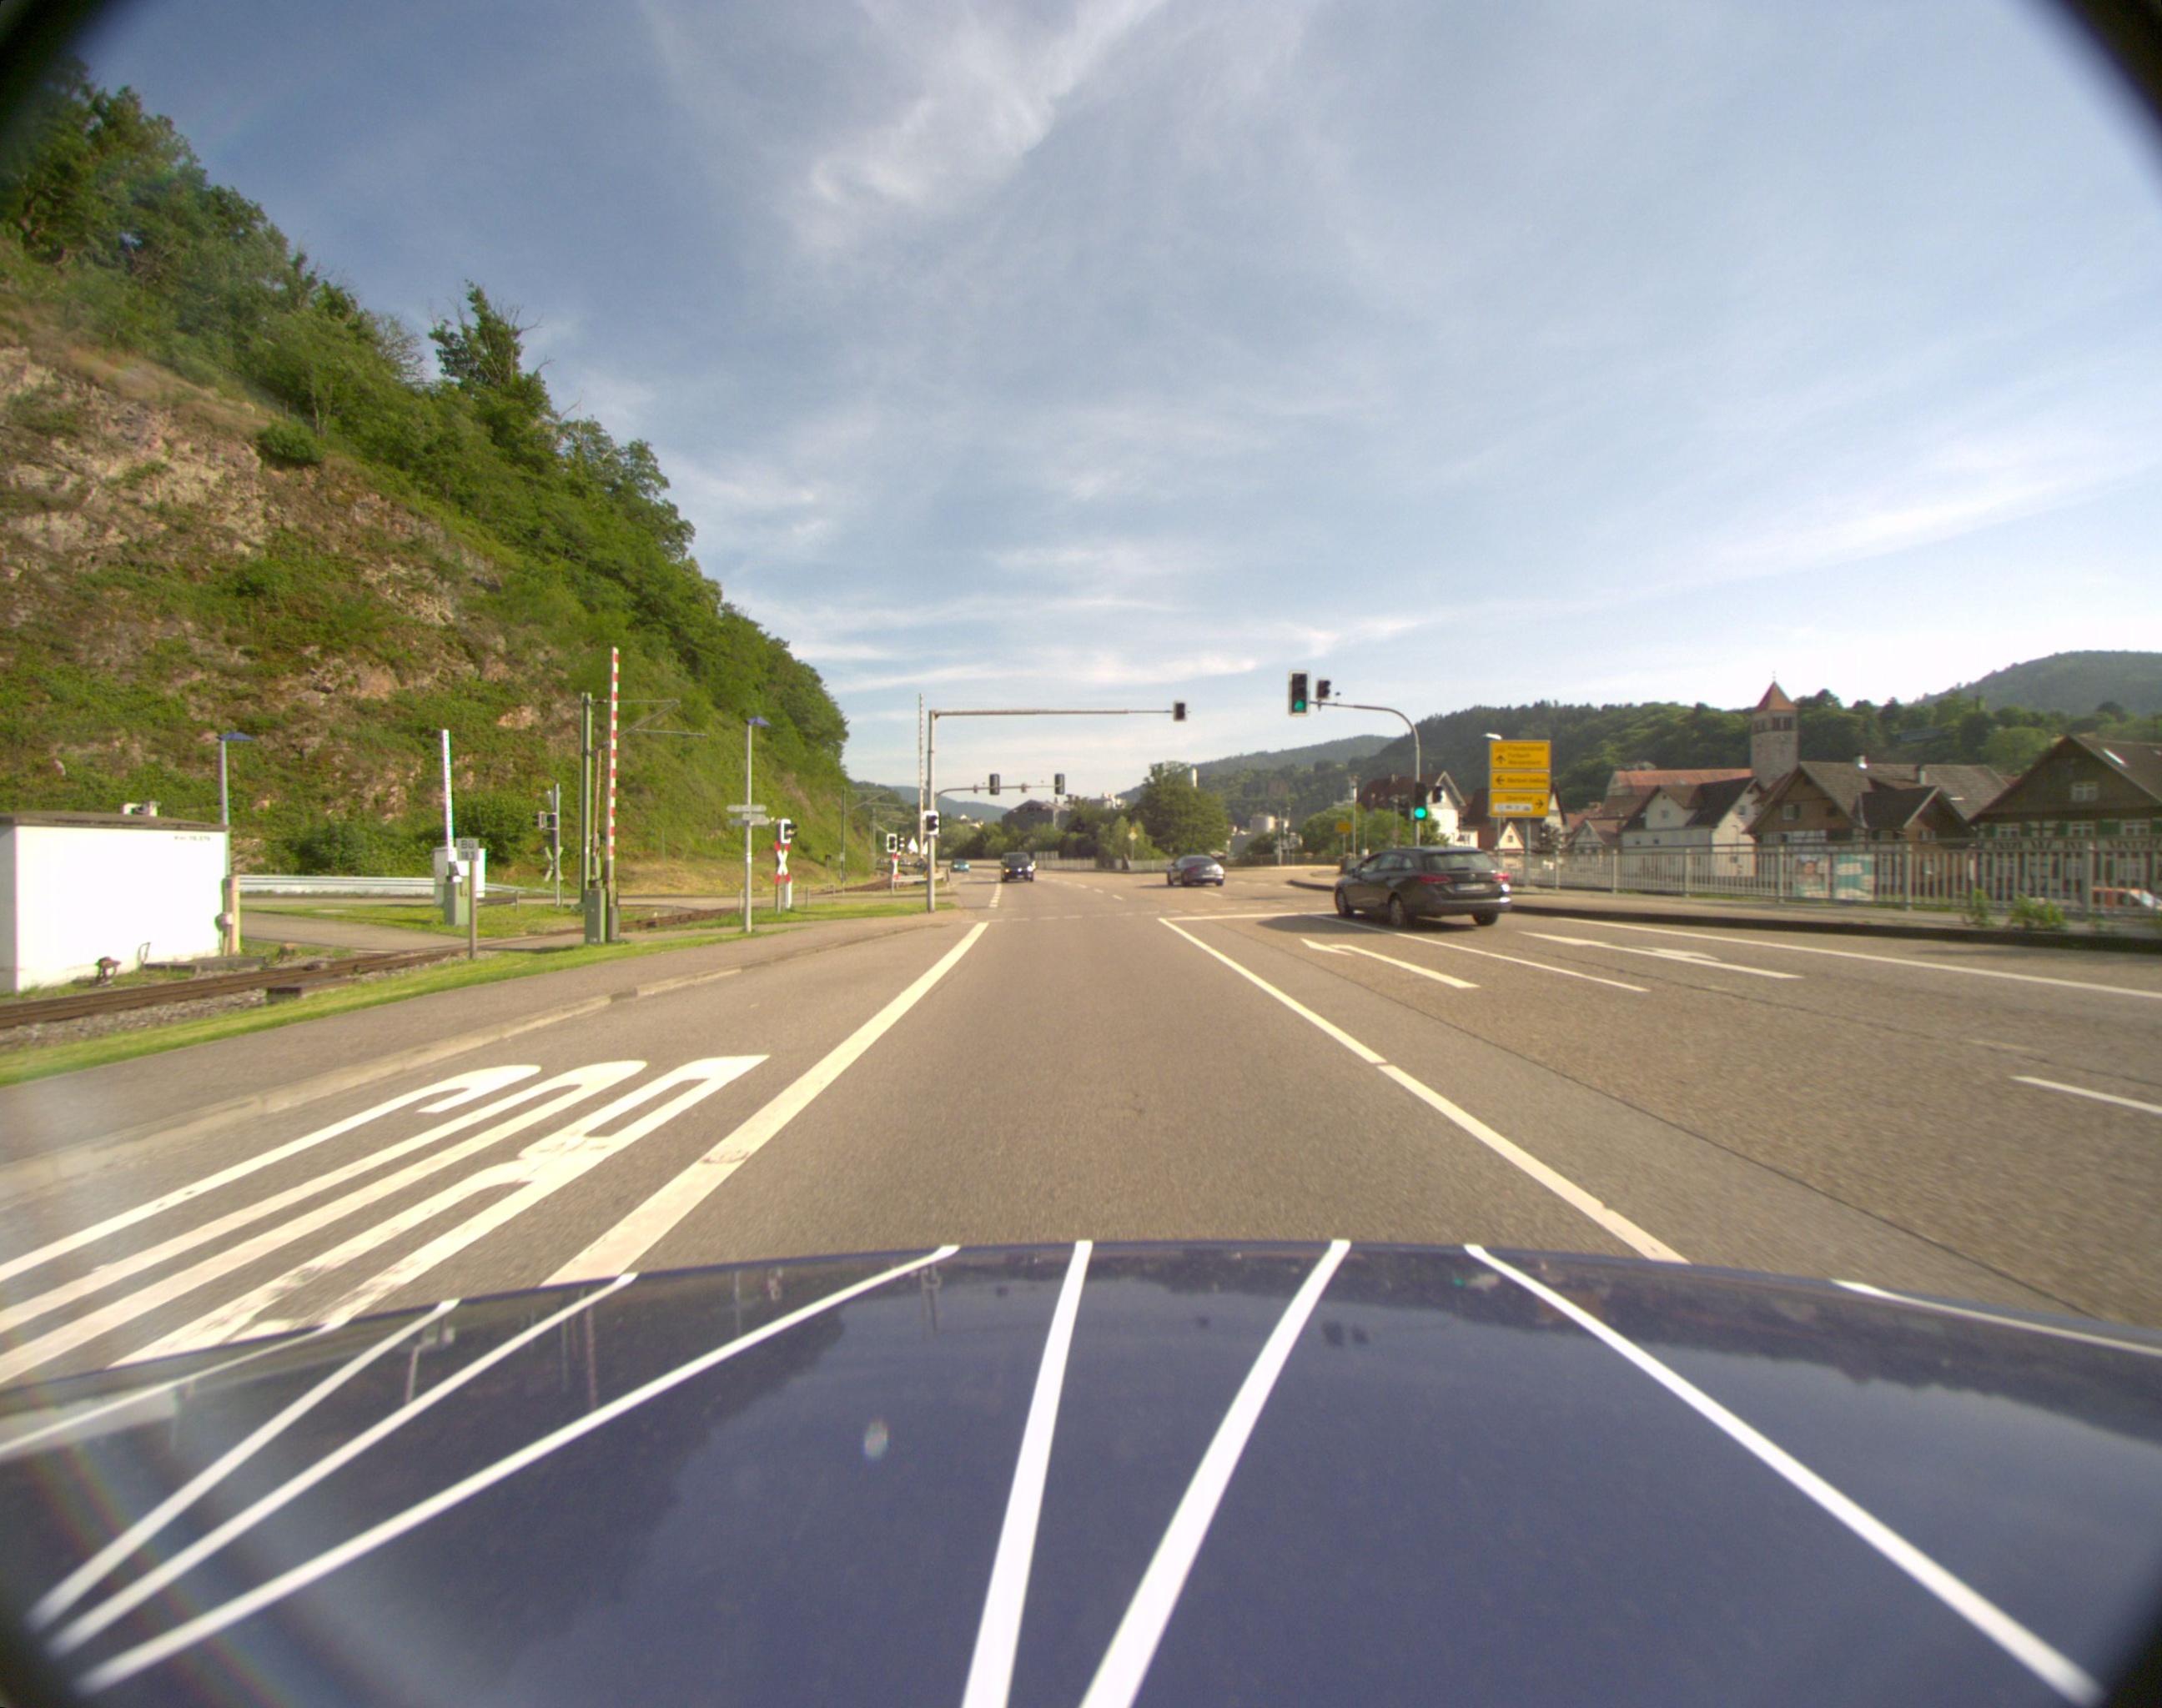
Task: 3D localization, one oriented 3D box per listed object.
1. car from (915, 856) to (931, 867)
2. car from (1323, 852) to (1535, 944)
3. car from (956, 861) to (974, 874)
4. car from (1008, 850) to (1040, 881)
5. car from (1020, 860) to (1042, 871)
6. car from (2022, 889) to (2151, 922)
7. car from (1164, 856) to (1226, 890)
[{"bbox_3d":[-25.917,1.272,124.646,2.002,1.783,3.993,-2,0,-21],"label":"car"},{"bbox_3d":[6.428,0.715,14.754,1.790,1.470,4.753,-1,0,-2],"label":"car"},{"bbox_3d":[-13.760,1.606,89.919,1.770,1.452,3.571,1,1,-14],"label":"car"},{"bbox_3d":[-3.837,0.722,50.378,1.910,1.868,4.345,-3,0,-6],"label":"car"},{"bbox_3d":[-5.662,1.253,85.688,1.652,1.224,4.088,-1,0,-16],"label":"car"},{"bbox_3d":[61.280,3.075,46.444,1.498,1.682,4.538,-1,0,-16],"label":"car"},{"bbox_3d":[5.113,0.797,34.796,1.776,1.369,4.642,-2,0,-4],"label":"car"}]
